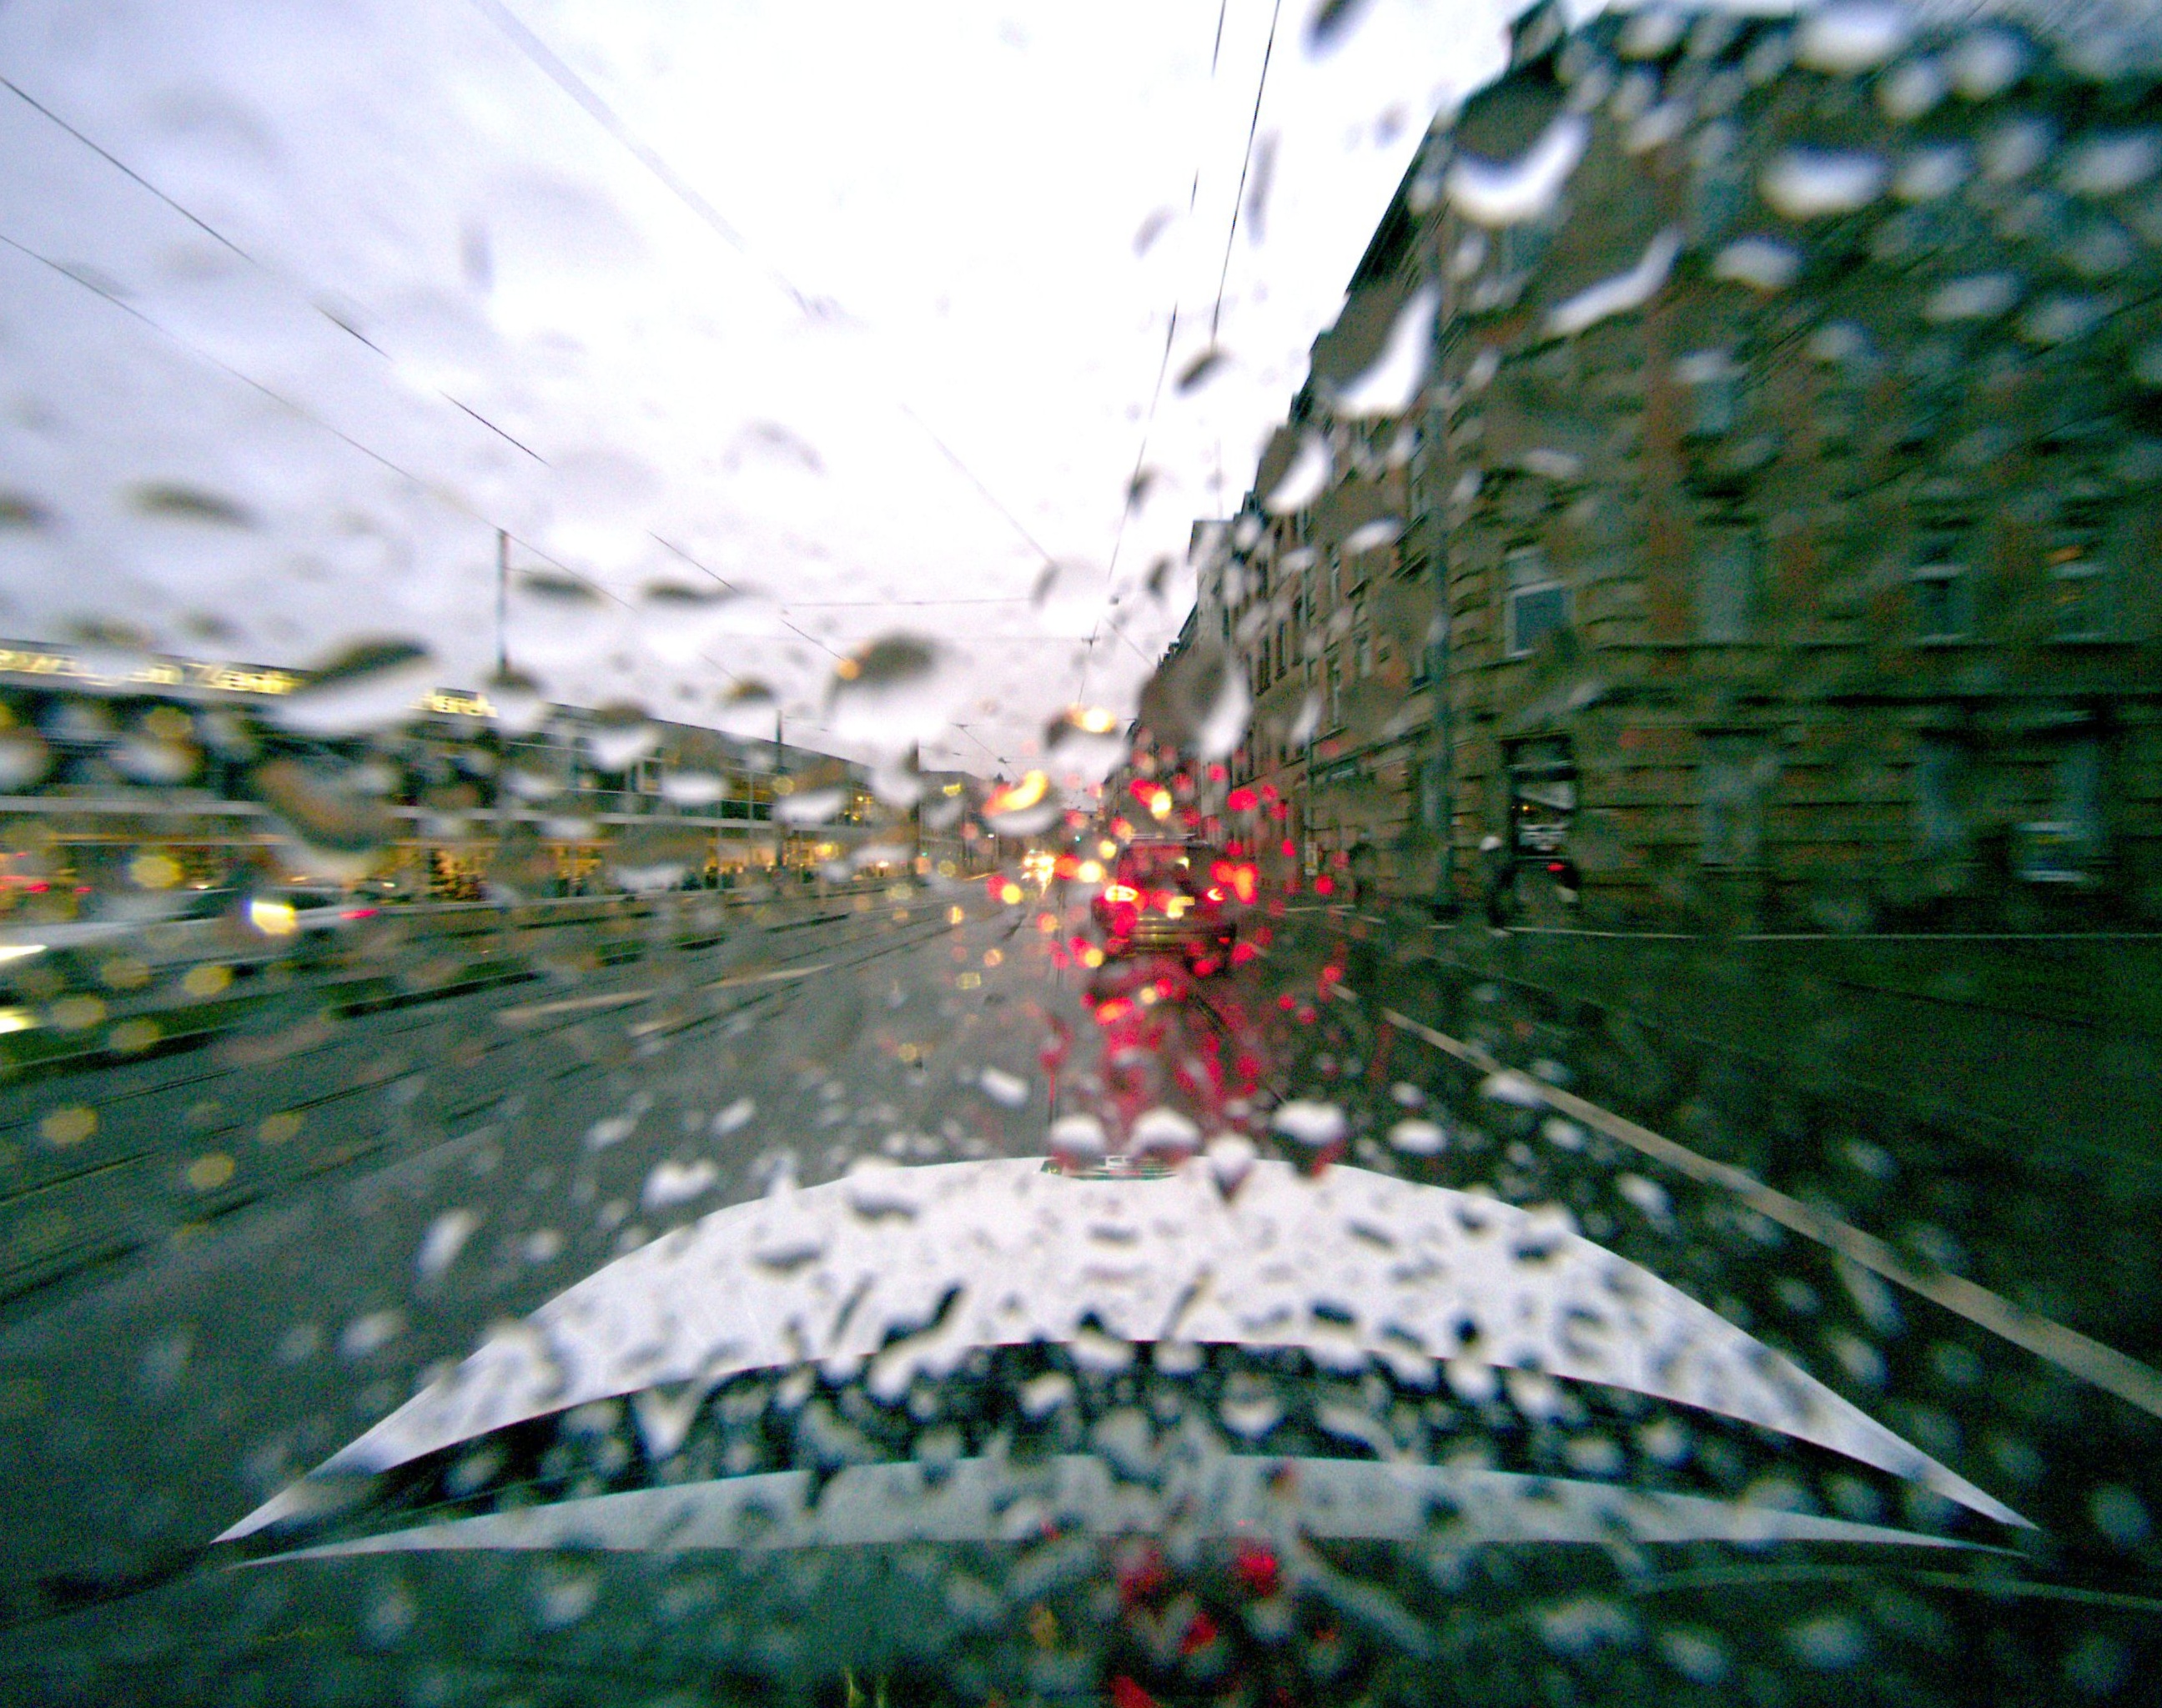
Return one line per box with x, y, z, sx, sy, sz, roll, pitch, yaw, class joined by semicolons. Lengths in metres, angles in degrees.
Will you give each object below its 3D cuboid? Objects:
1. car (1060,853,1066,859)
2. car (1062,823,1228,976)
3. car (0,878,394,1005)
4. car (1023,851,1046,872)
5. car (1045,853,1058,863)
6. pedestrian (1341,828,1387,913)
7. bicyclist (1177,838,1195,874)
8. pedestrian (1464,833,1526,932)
-5.497;0.488;249.394;1.870;1.709;4.757;-2;0;-2;car
0.838;0.557;11.892;1.986;1.842;4.002;-1;0;2;car
-14.281;1.211;12.945;1.978;1.497;4.831;-1;0;16;car
-4.605;0.742;81.497;1.987;2.014;4.684;0;-1;0;car
-4.699;0.682;130.059;1.835;1.578;4.442;-1;0;0;car
6.193;0.355;17.853;0.748;1.825;0.711;-1;0;1;pedestrian
5.603;0.109;43.633;0.743;1.880;1.110;-1;-1;-3;bicyclist
6.688;0.453;13.182;0.629;1.548;0.711;-1;0;1;pedestrian
